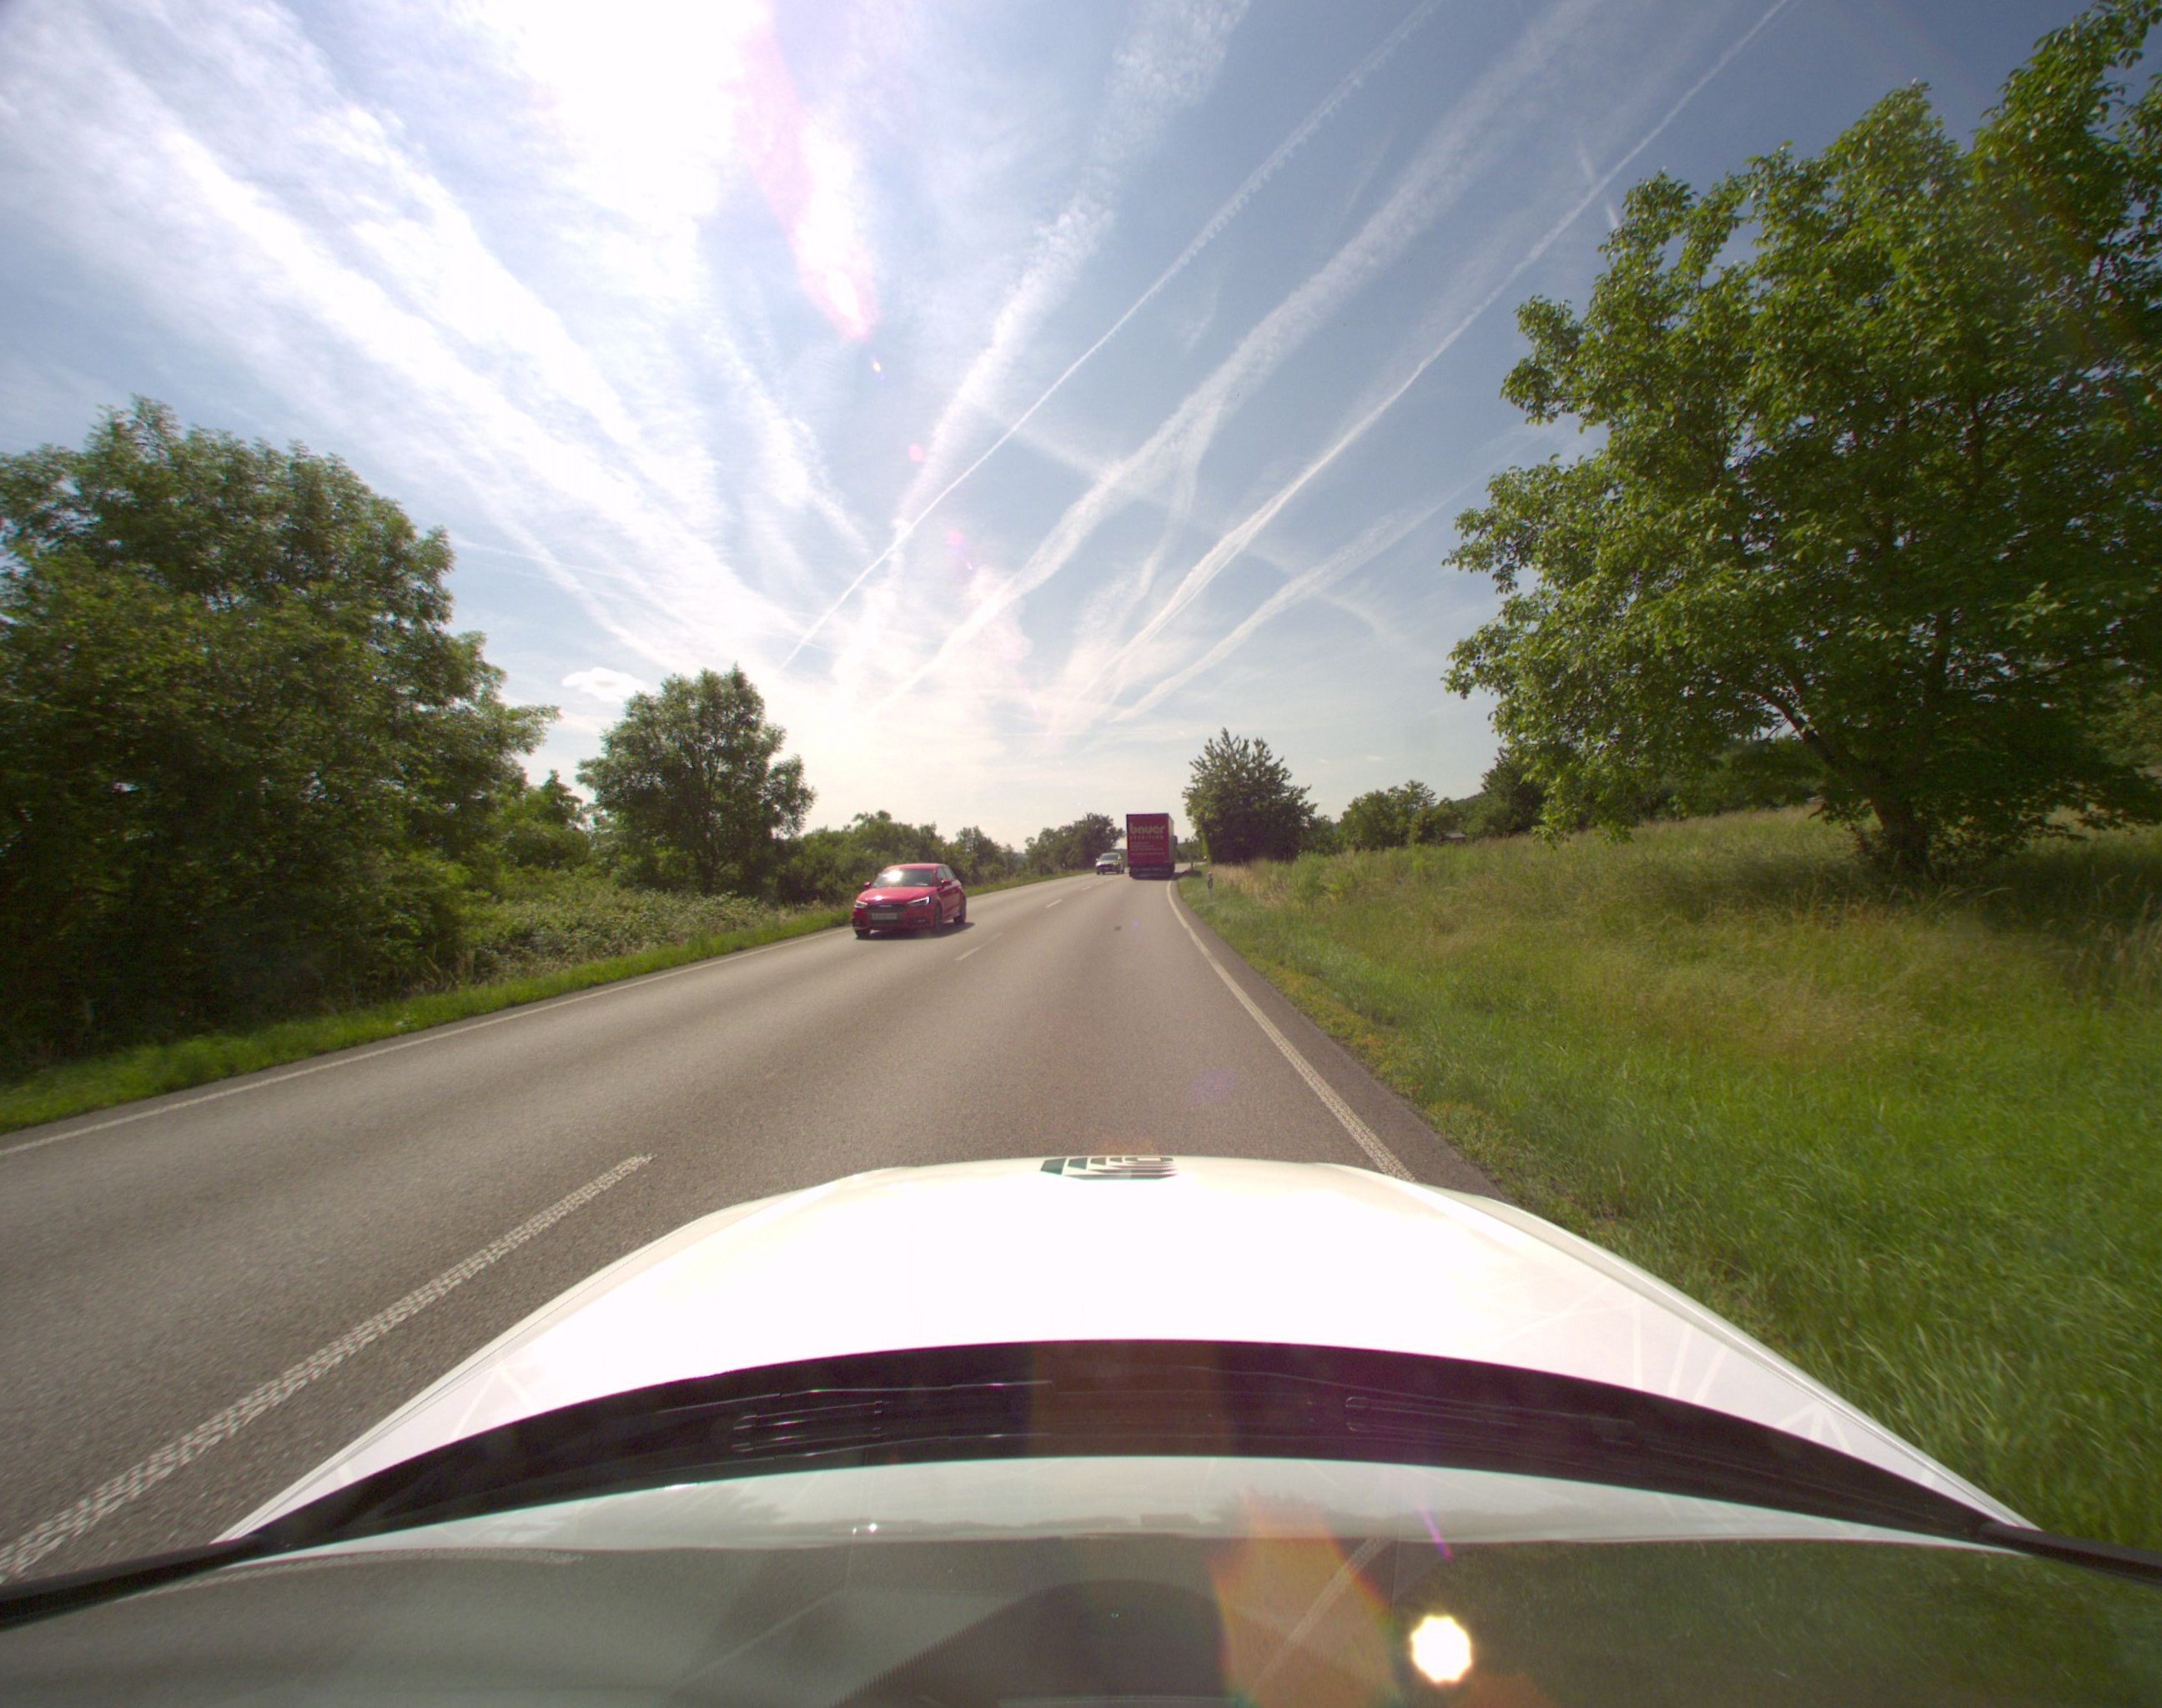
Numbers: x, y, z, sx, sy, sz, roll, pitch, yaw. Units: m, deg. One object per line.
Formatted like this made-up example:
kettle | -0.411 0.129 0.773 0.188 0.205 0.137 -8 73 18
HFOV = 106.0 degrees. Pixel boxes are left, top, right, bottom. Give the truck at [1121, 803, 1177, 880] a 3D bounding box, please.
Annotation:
truck | 4.725 -0.756 54.028 3.095 4.506 12.194 0 0 8

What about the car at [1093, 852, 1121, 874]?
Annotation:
car | 2.098 0.673 64.595 1.947 1.605 4.408 -3 0 5

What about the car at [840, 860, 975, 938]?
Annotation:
car | -3.612 0.885 17.717 1.813 1.398 4.185 -2 0 3
